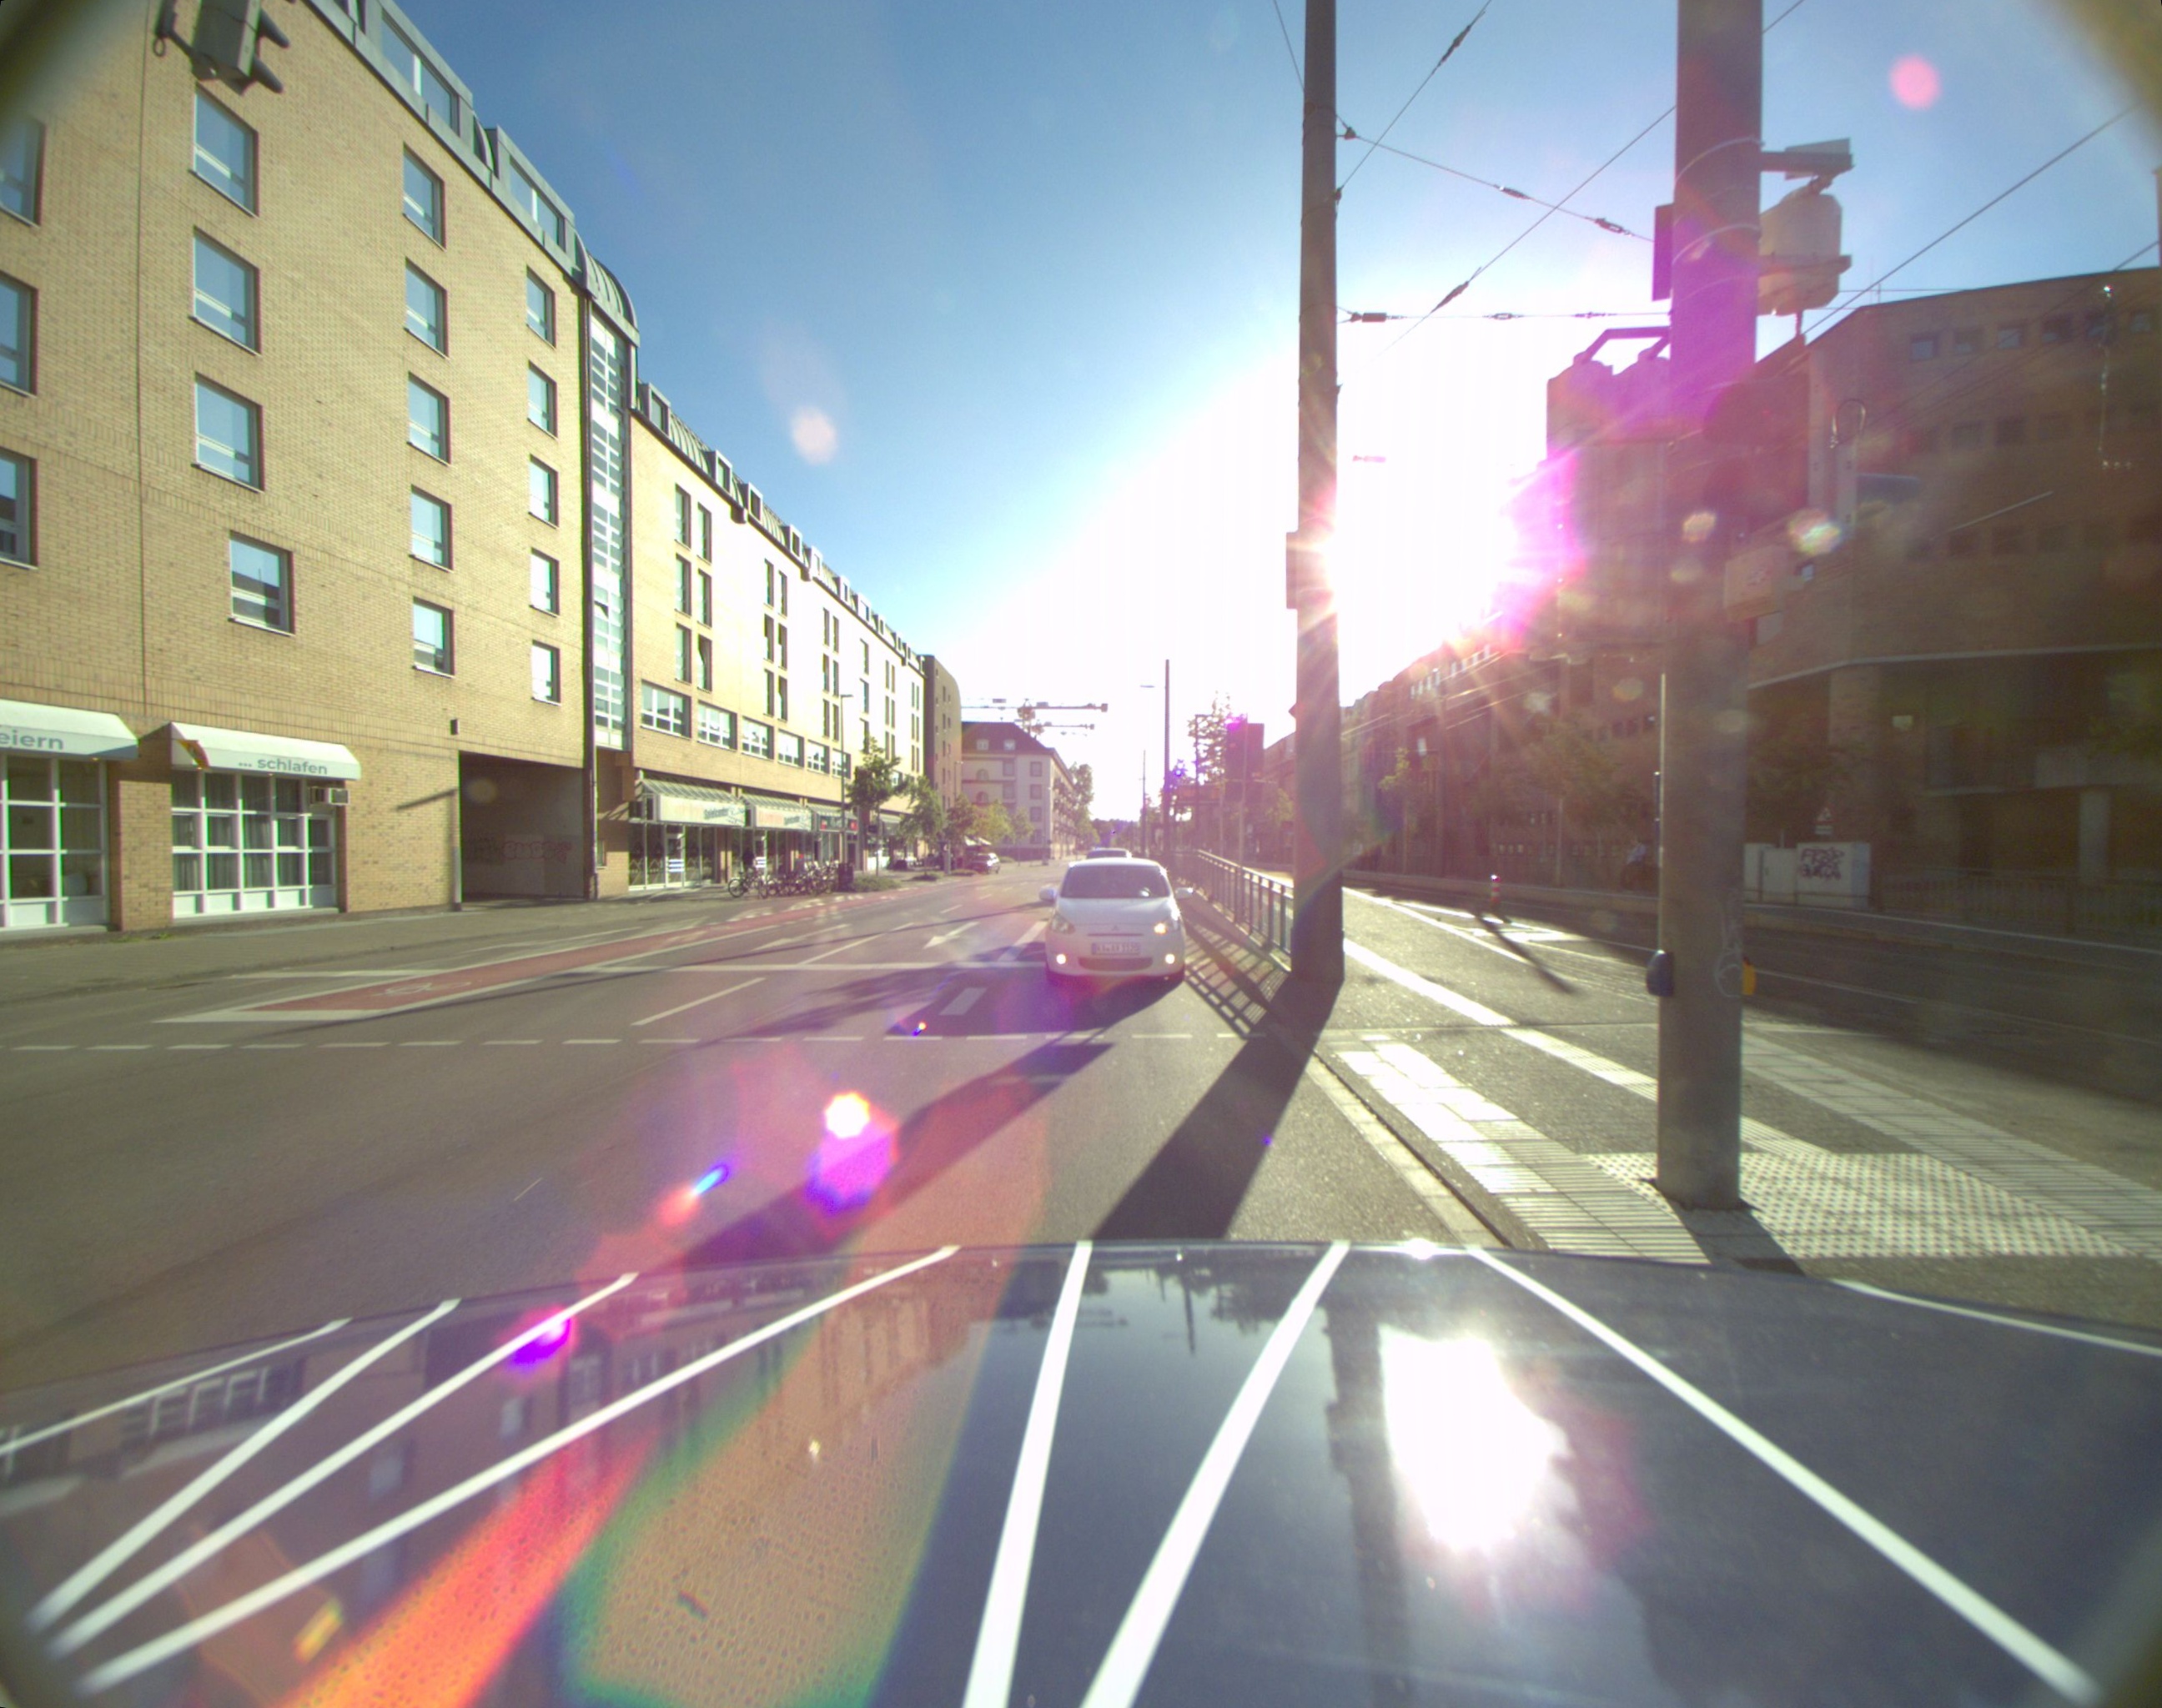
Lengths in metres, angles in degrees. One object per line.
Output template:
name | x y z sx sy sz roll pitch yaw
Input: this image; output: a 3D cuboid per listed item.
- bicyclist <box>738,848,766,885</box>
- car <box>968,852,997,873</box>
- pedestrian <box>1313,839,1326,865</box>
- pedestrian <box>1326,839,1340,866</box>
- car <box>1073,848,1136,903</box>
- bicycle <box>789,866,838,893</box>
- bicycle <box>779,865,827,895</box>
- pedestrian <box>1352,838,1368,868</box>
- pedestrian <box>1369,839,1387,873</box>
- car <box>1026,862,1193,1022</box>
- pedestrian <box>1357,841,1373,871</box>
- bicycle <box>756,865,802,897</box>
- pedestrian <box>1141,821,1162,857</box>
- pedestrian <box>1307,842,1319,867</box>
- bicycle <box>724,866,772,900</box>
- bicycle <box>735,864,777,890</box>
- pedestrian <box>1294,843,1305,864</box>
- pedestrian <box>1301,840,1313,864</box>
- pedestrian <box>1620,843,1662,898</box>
bicyclist | -13.863 0.520 32.026 0.579 1.506 0.851 4 0 11
car | -7.880 0.657 61.114 1.655 1.521 3.693 -1 1 3
pedestrian | 16.346 -0.151 52.165 0.692 1.732 0.586 0 1 0
pedestrian | 16.429 -0.108 49.496 0.692 1.732 0.586 0 1 0
car | 0.819 0.648 26.152 1.954 1.652 4.355 -1 1 2
bicycle | -11.211 1.070 31.886 1.774 1.065 0.737 1 2 5
bicycle | -11.206 1.050 30.654 1.774 1.135 0.553 1 3 5
pedestrian | 16.095 -0.058 43.775 0.692 1.732 0.586 0 1 0
pedestrian | 15.322 0.105 39.218 0.692 1.732 0.586 0 1 0
car | 0.368 0.908 9.717 1.639 1.458 4.186 -1 1 2
pedestrian | 16.114 0.108 43.139 0.692 1.732 0.586 0 1 0
bicycle | -11.708 1.031 29.405 1.771 1.142 0.554 2 3 23
pedestrian | 3.949 -0.844 42.618 0.881 2.002 0.783 0 1 -21
pedestrian | 16.340 0.047 53.555 0.692 1.732 0.586 0 1 0
bicycle | -12.306 1.068 28.053 1.771 1.142 0.554 2 3 23
bicycle | -13.810 0.962 32.304 0.601 1.044 1.883 5 1 12
pedestrian | 16.518 -0.043 57.489 0.692 1.566 0.586 0 1 0
pedestrian | 16.350 -0.156 54.878 0.692 1.732 0.586 0 1 0
pedestrian | 15.711 0.453 21.326 0.701 1.526 0.654 0 1 0
